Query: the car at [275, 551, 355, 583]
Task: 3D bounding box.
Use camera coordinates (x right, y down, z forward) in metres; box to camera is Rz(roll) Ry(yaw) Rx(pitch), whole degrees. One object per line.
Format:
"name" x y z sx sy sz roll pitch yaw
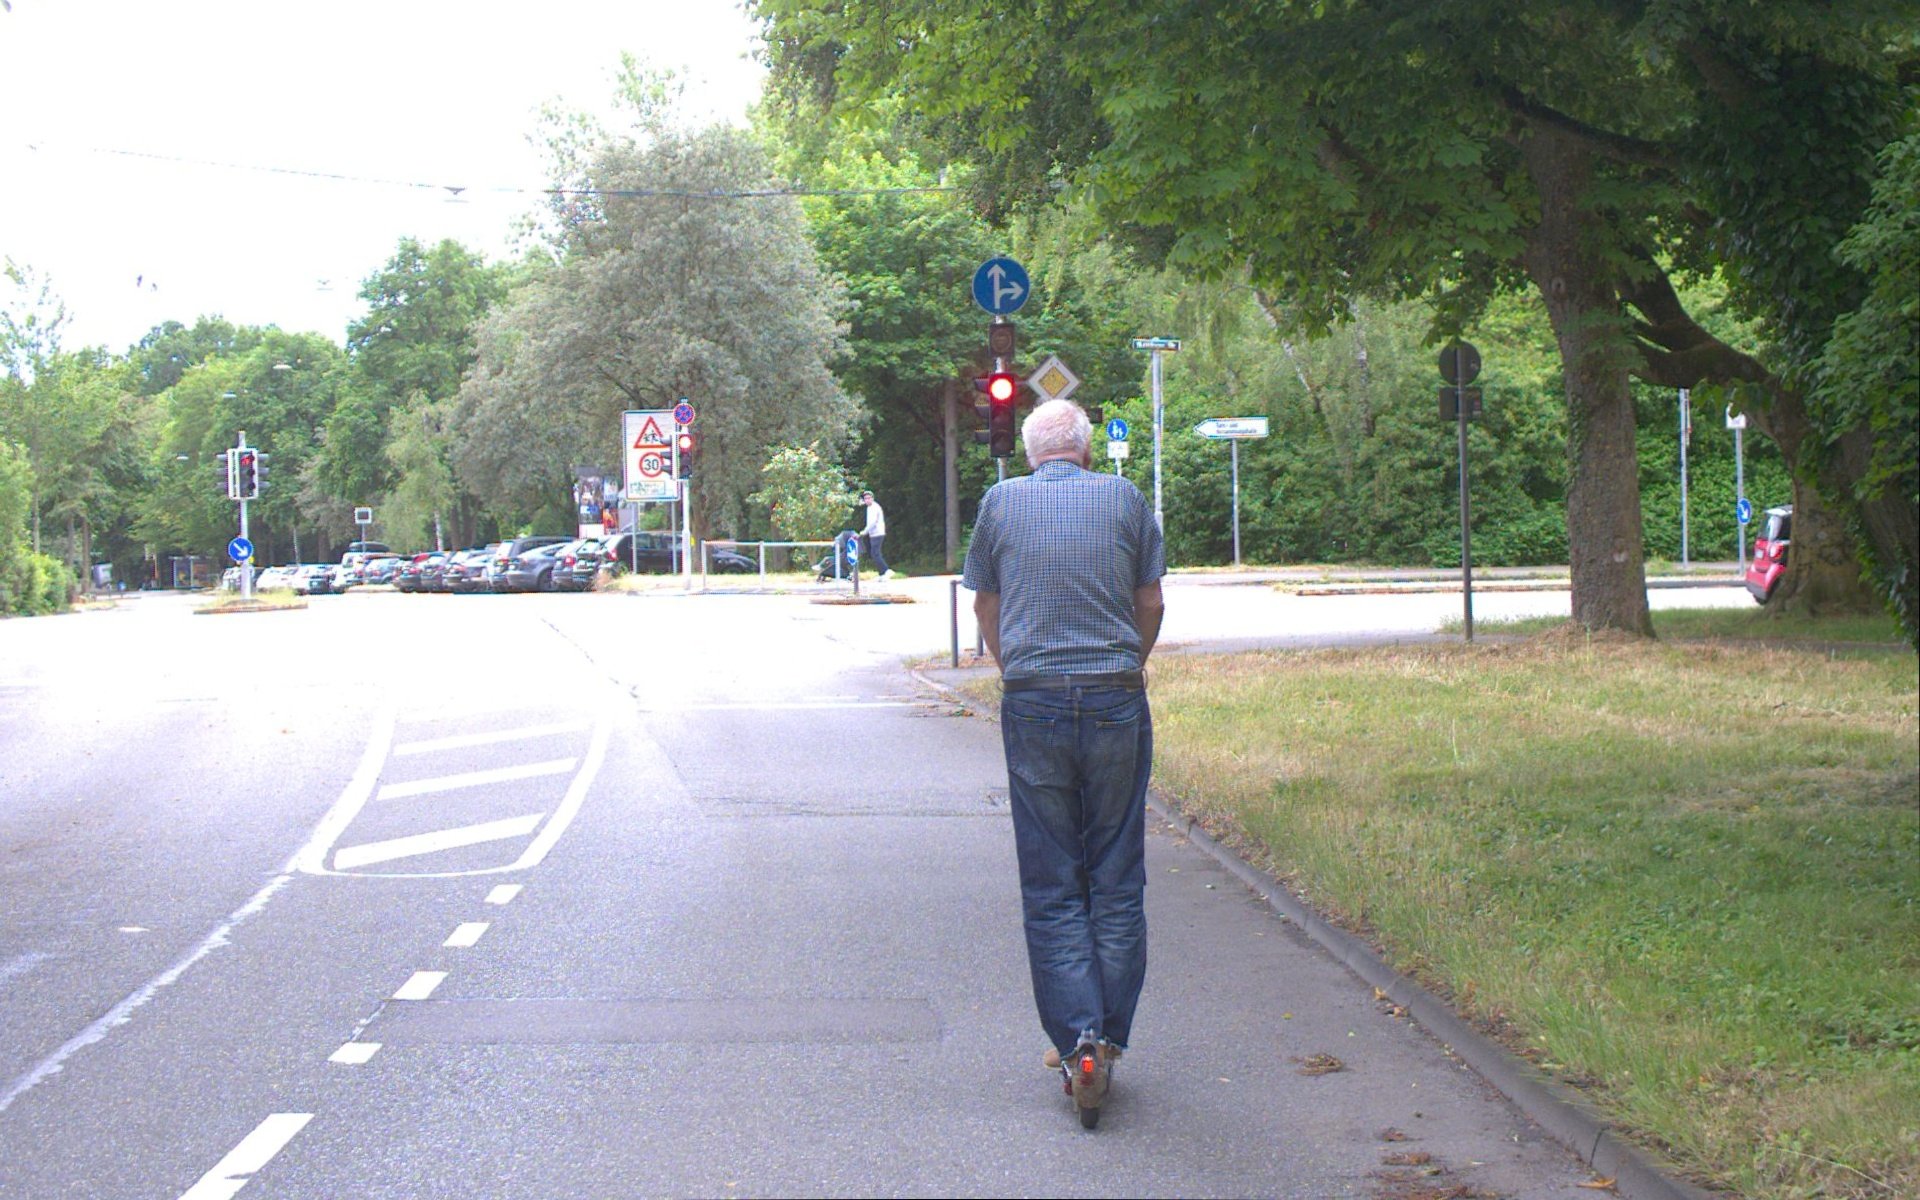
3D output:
"car" -33.716 -1.724 179.840 3.986 1.505 1.800 -2 1 -7

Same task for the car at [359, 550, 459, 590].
"car" -22.917 -1.270 143.047 3.986 1.505 1.800 -2 1 -7

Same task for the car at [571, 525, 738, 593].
"car" -7.555 -1.027 84.837 3.986 1.505 1.800 -2 1 -7

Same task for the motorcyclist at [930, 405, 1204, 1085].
"motorcyclist" 0.274 0.368 9.196 0.672 1.755 0.639 0 1 -4

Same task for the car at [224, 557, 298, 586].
"car" -39.990 -1.660 196.872 3.986 1.505 1.800 -2 1 -7

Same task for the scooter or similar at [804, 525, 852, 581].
"scooter or similar" -2.540 -0.905 66.129 0.710 1.045 0.787 -2 1 14

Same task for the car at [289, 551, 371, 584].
"car" -32.086 -1.660 175.136 3.986 1.505 1.800 -2 1 -7

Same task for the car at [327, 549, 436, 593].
"car" -22.043 -1.101 131.213 3.986 1.505 1.800 -2 1 -7

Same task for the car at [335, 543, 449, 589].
"car" -20.750 -1.254 125.661 3.986 1.505 1.800 -2 1 -7

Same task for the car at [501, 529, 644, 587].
"car" -11.116 -1.215 98.566 3.986 1.505 1.800 -2 1 -7

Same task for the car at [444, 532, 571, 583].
"car" -14.604 -1.381 110.938 3.986 1.505 1.800 -2 1 -7

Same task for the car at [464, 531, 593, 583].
"car" -13.700 -1.364 109.109 3.986 1.505 1.800 -2 1 -7

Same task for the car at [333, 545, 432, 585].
"car" -24.379 -1.477 145.215 3.986 1.505 1.800 -2 1 -7

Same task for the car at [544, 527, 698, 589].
"car" -9.060 -1.132 91.874 3.986 1.505 1.800 -2 1 -7

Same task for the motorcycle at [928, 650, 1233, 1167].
"motorcycle" 0.288 0.760 9.021 0.672 1.213 1.274 0 1 -4

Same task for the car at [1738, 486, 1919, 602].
"car" 13.245 -0.814 49.144 3.988 1.551 1.800 0 4 8

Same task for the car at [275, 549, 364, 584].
"car" -30.456 -1.600 163.539 3.986 1.505 1.800 -2 1 -7

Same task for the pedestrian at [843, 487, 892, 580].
"pedestrian" -1.773 -1.278 65.926 0.732 1.755 0.661 -2 1 14
